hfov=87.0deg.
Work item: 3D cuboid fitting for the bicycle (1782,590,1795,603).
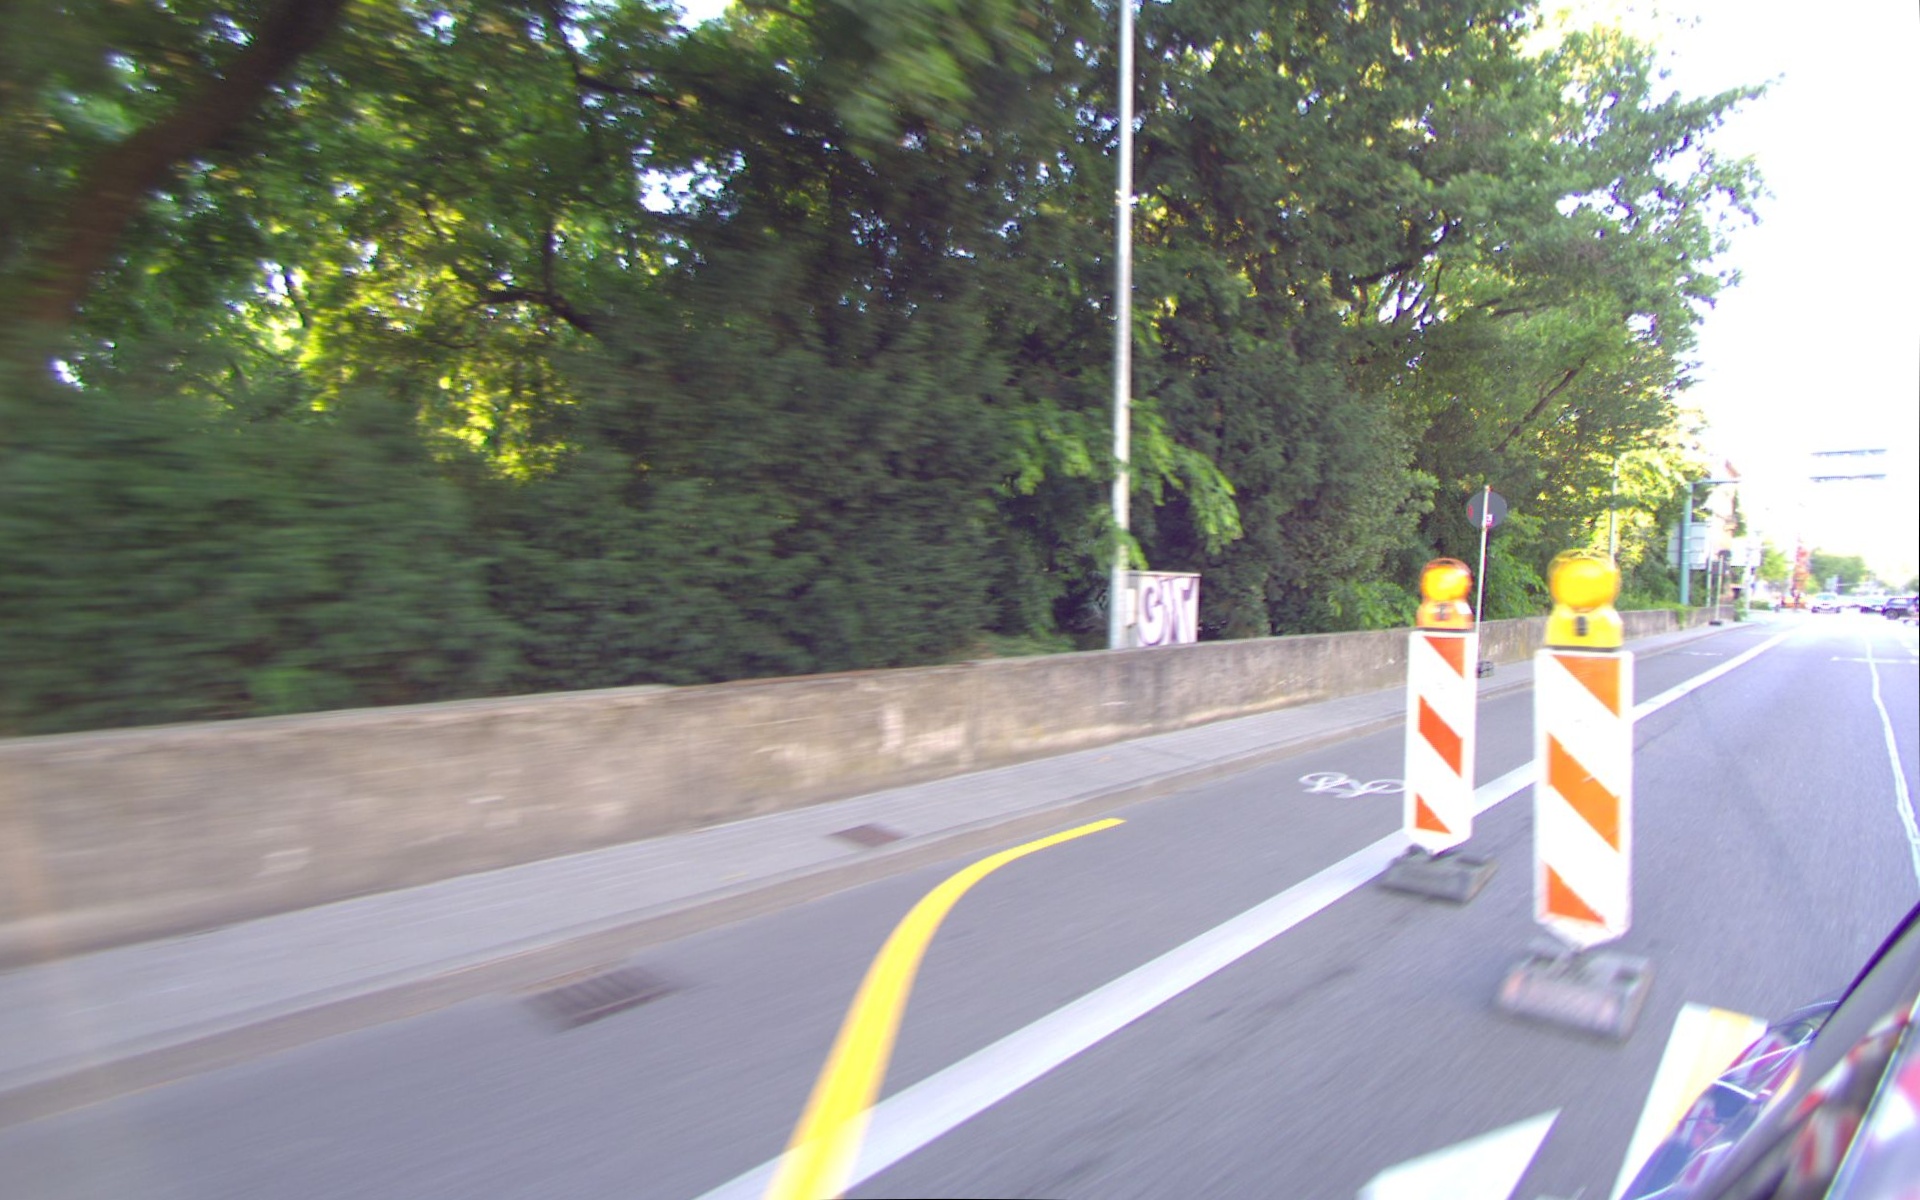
[{"bbox_3d":[69.375,-0.294,84.760,2.014,1.064,0.528,-2,6,-44],"label":"bicycle"}]

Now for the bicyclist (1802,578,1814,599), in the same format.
[{"bbox_3d":[70.414,-0.918,84.054,0.755,1.723,0.704,1,0,-45],"label":"bicyclist"}]

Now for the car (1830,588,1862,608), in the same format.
[{"bbox_3d":[73.521,-0.147,83.987,1.829,1.617,4.193,1,1,43],"label":"car"}]

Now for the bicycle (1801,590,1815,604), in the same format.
[{"bbox_3d":[70.295,-0.266,83.924,0.719,1.064,2.011,0,1,44],"label":"bicycle"}]

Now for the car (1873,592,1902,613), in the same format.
[{"bbox_3d":[75.811,0.186,82.731,1.698,1.617,4.193,1,1,43],"label":"car"}]

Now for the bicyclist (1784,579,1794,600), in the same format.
[{"bbox_3d":[69.486,-0.918,84.818,0.755,1.721,0.509,-2,5,-44],"label":"bicyclist"}]
